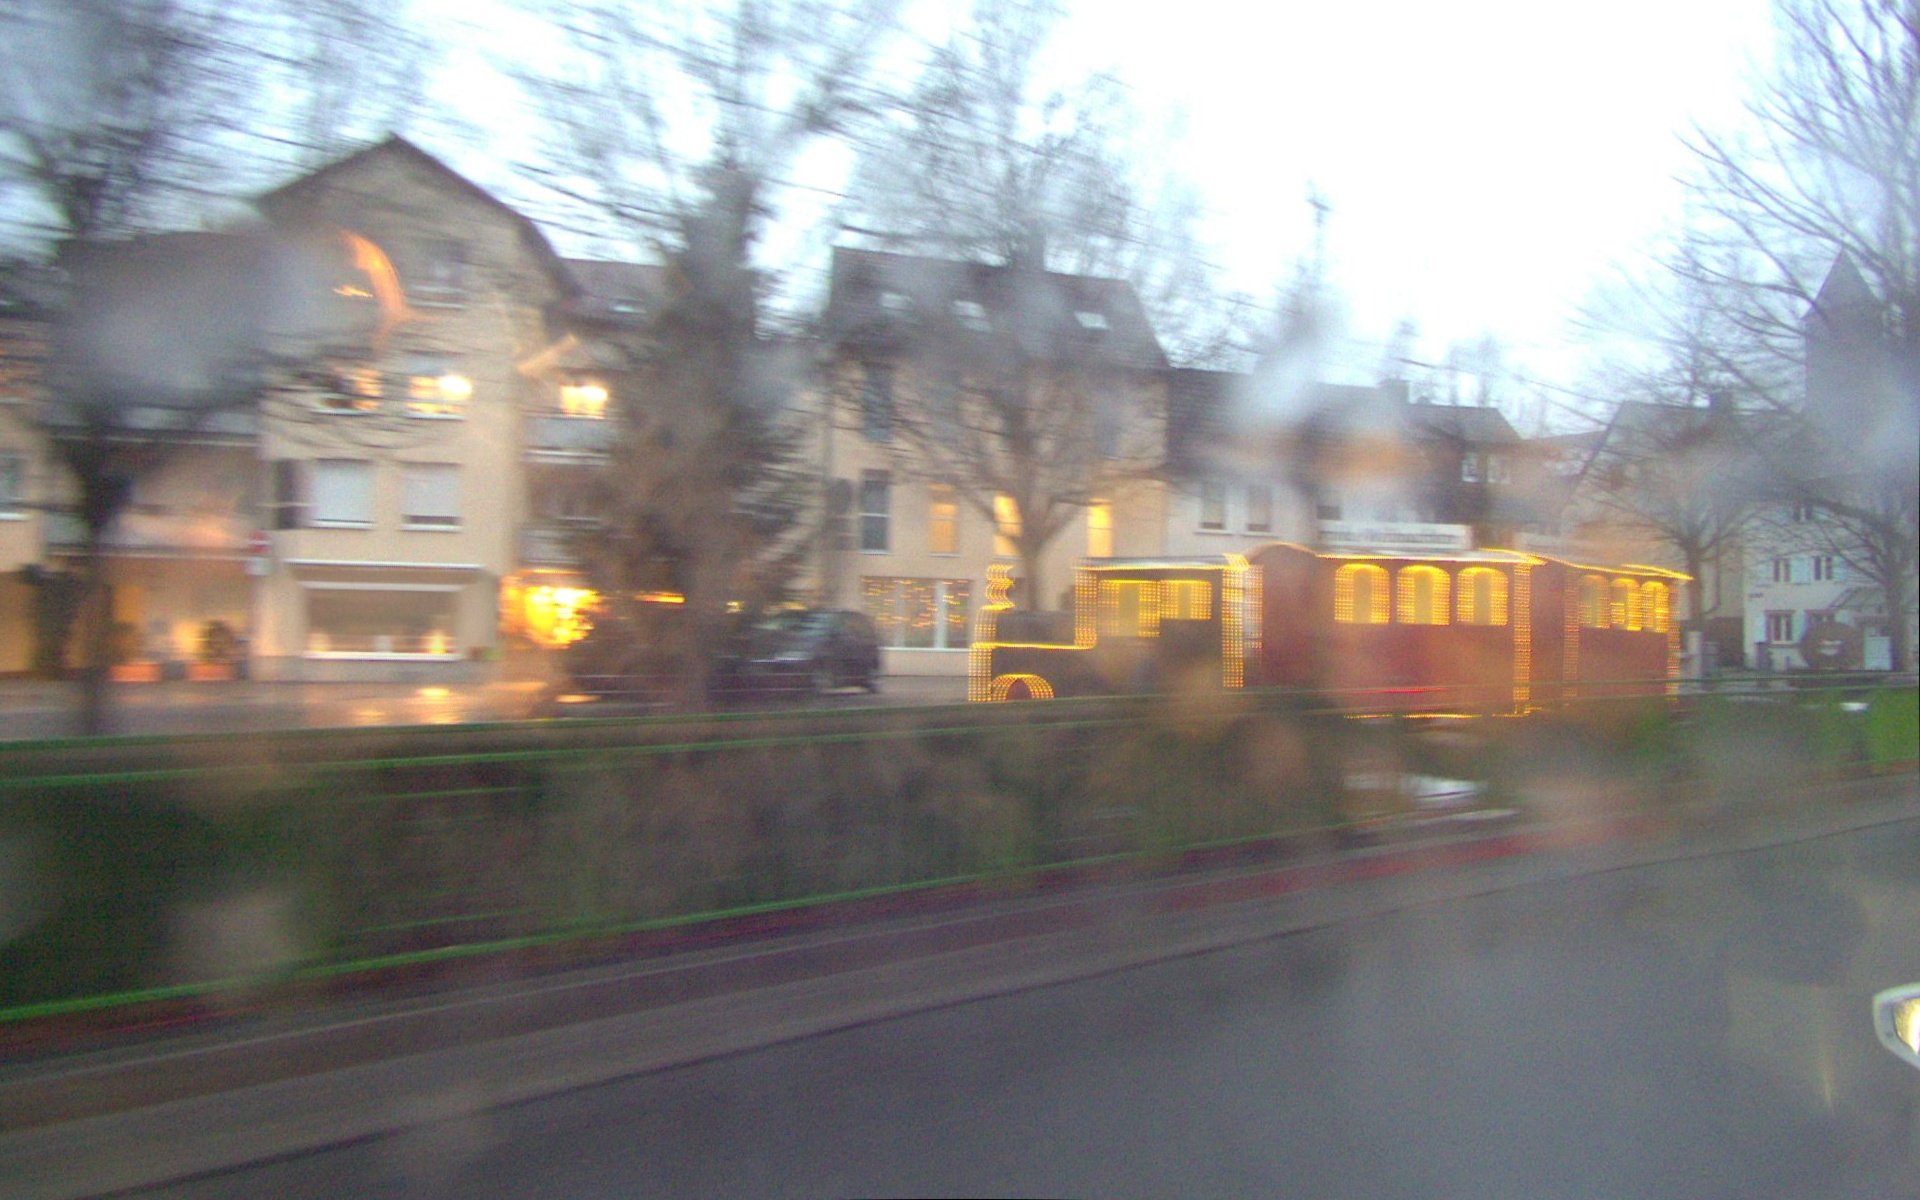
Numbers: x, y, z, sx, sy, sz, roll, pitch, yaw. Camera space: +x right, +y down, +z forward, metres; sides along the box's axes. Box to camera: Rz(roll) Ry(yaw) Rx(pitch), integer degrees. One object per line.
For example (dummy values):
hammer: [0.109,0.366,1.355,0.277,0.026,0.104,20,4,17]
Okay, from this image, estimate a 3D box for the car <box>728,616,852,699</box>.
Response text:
car: [-2.957,0.965,18.095,1.582,1.346,3.327,0,-1,1]

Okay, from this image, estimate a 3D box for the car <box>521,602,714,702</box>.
car: [-5.760,0.832,17.458,1.884,1.528,4.001,0,-1,1]

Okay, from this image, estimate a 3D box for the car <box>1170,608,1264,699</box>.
car: [5.107,1.003,20.312,1.577,1.633,3.637,1,-1,11]
